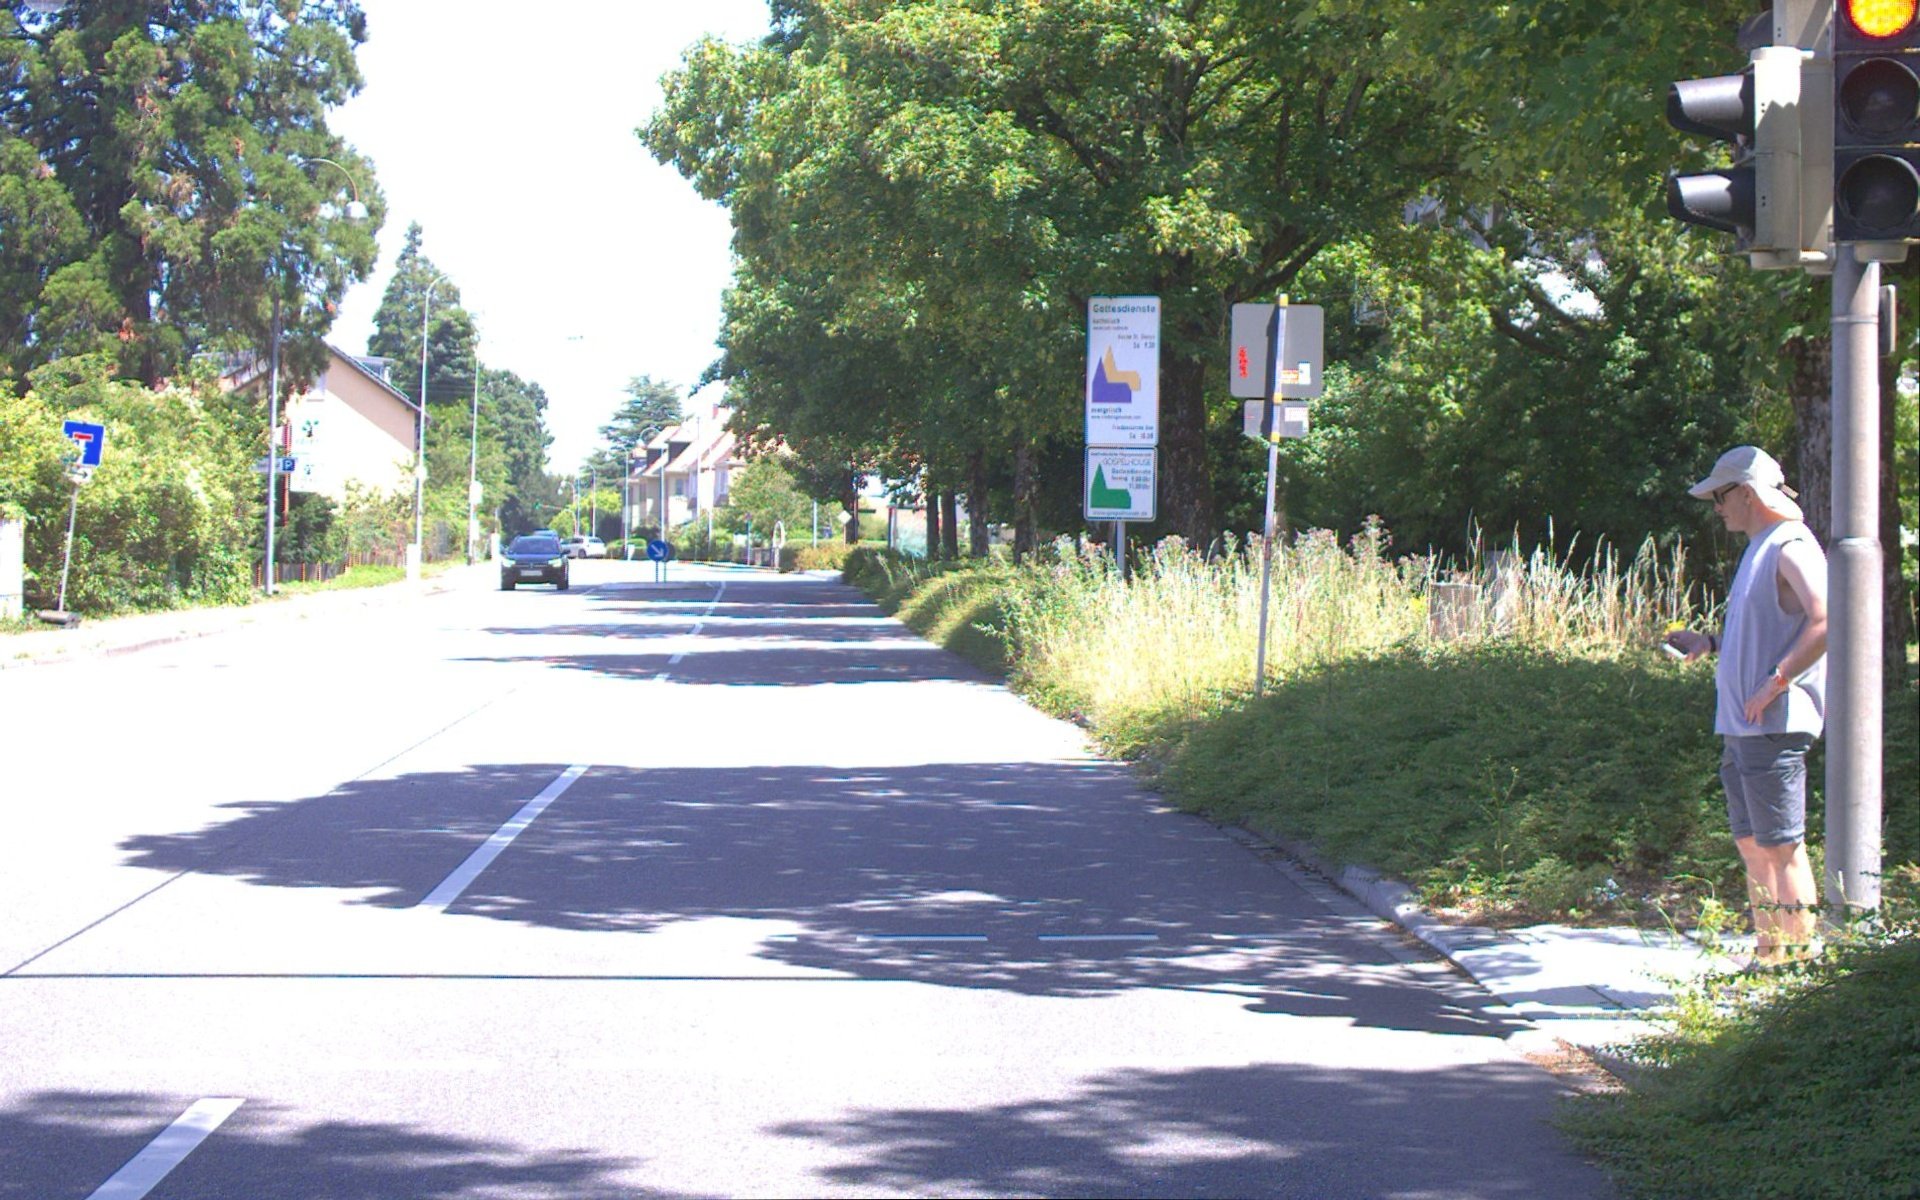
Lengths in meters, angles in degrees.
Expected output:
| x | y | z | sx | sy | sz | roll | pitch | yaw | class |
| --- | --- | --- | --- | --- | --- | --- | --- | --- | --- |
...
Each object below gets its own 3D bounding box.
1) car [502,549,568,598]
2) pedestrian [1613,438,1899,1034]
| x | y | z | sx | sy | sz | roll | pitch | yaw | class |
| --- | --- | --- | --- | --- | --- | --- | --- | --- | --- |
| -11.751 | -0.746 | 95.254 | 1.431 | 1.318 | 3.355 | 1 | 1 | -1 | car |
| 2.416 | 0.396 | 10.463 | 0.560 | 1.745 | 0.615 | 1 | 1 | -24 | pedestrian |
